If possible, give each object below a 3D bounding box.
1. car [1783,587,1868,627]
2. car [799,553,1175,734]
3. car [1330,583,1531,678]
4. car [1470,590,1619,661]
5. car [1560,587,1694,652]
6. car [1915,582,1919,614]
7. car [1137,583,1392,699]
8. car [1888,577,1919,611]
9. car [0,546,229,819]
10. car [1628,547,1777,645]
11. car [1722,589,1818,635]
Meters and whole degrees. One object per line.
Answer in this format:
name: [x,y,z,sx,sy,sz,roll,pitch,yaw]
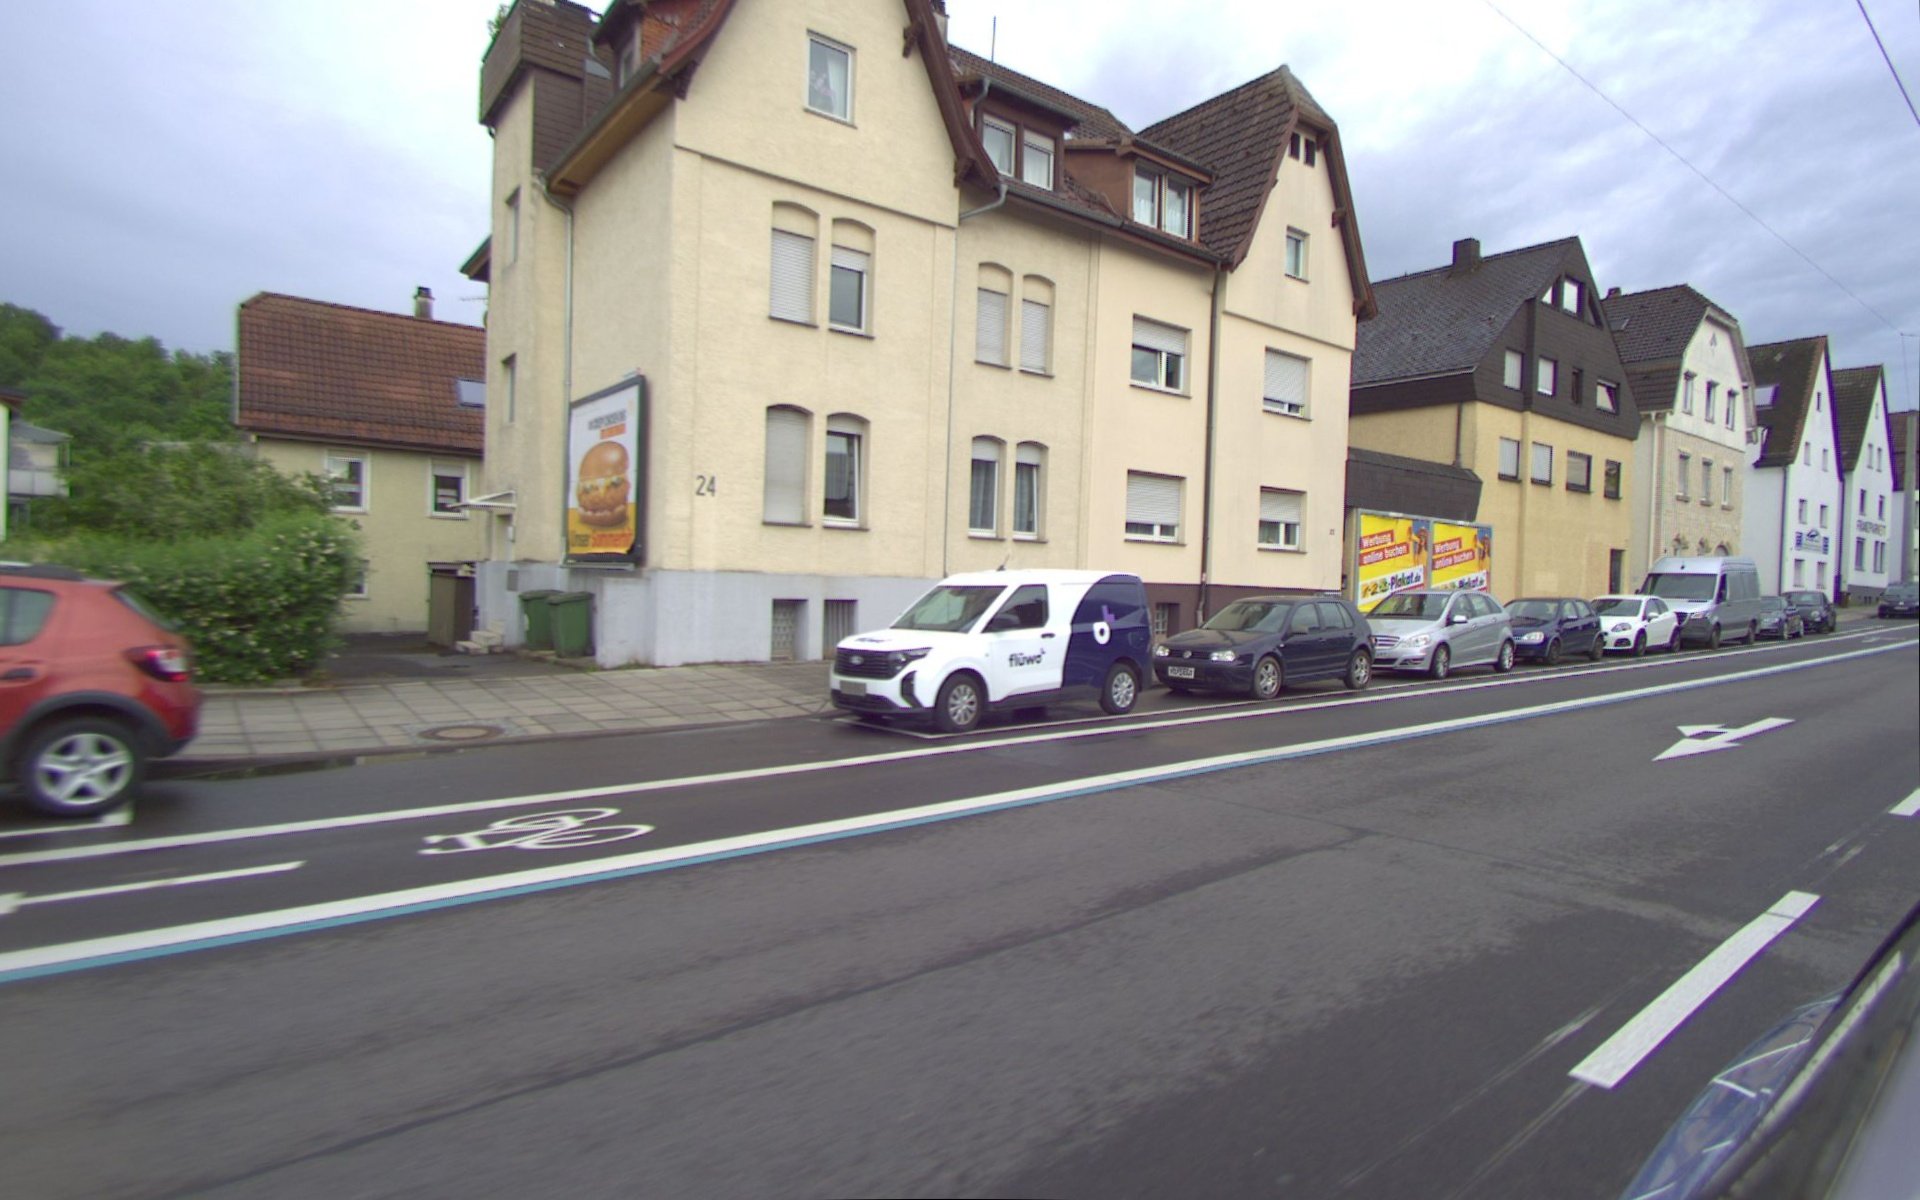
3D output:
car: [31.195,0.207,36.447,4.127,1.362,1.725,-1,1,-41]
car: [0.467,0.420,12.082,4.443,1.779,1.850,0,0,-42]
car: [8.816,0.471,18.828,4.205,1.586,1.705,-1,1,-39]
car: [12.932,0.510,22.315,3.723,1.419,1.605,0,1,-39]
car: [16.633,0.439,25.168,4.124,1.483,1.605,0,1,-39]
car: [49.707,-0.109,50.942,4.124,1.567,1.727,-1,1,-38]
car: [4.680,0.528,15.309,4.062,1.531,1.690,0,1,-39]
car: [45.567,-0.284,47.906,4.124,1.567,1.727,-1,1,-38]
car: [-7.054,0.483,6.231,4.027,1.648,1.840,0,0,-40]
car: [21.102,-0.153,28.661,5.815,2.530,2.044,-1,1,-40]
car: [26.308,0.335,32.812,4.013,1.362,1.725,-1,1,-41]
